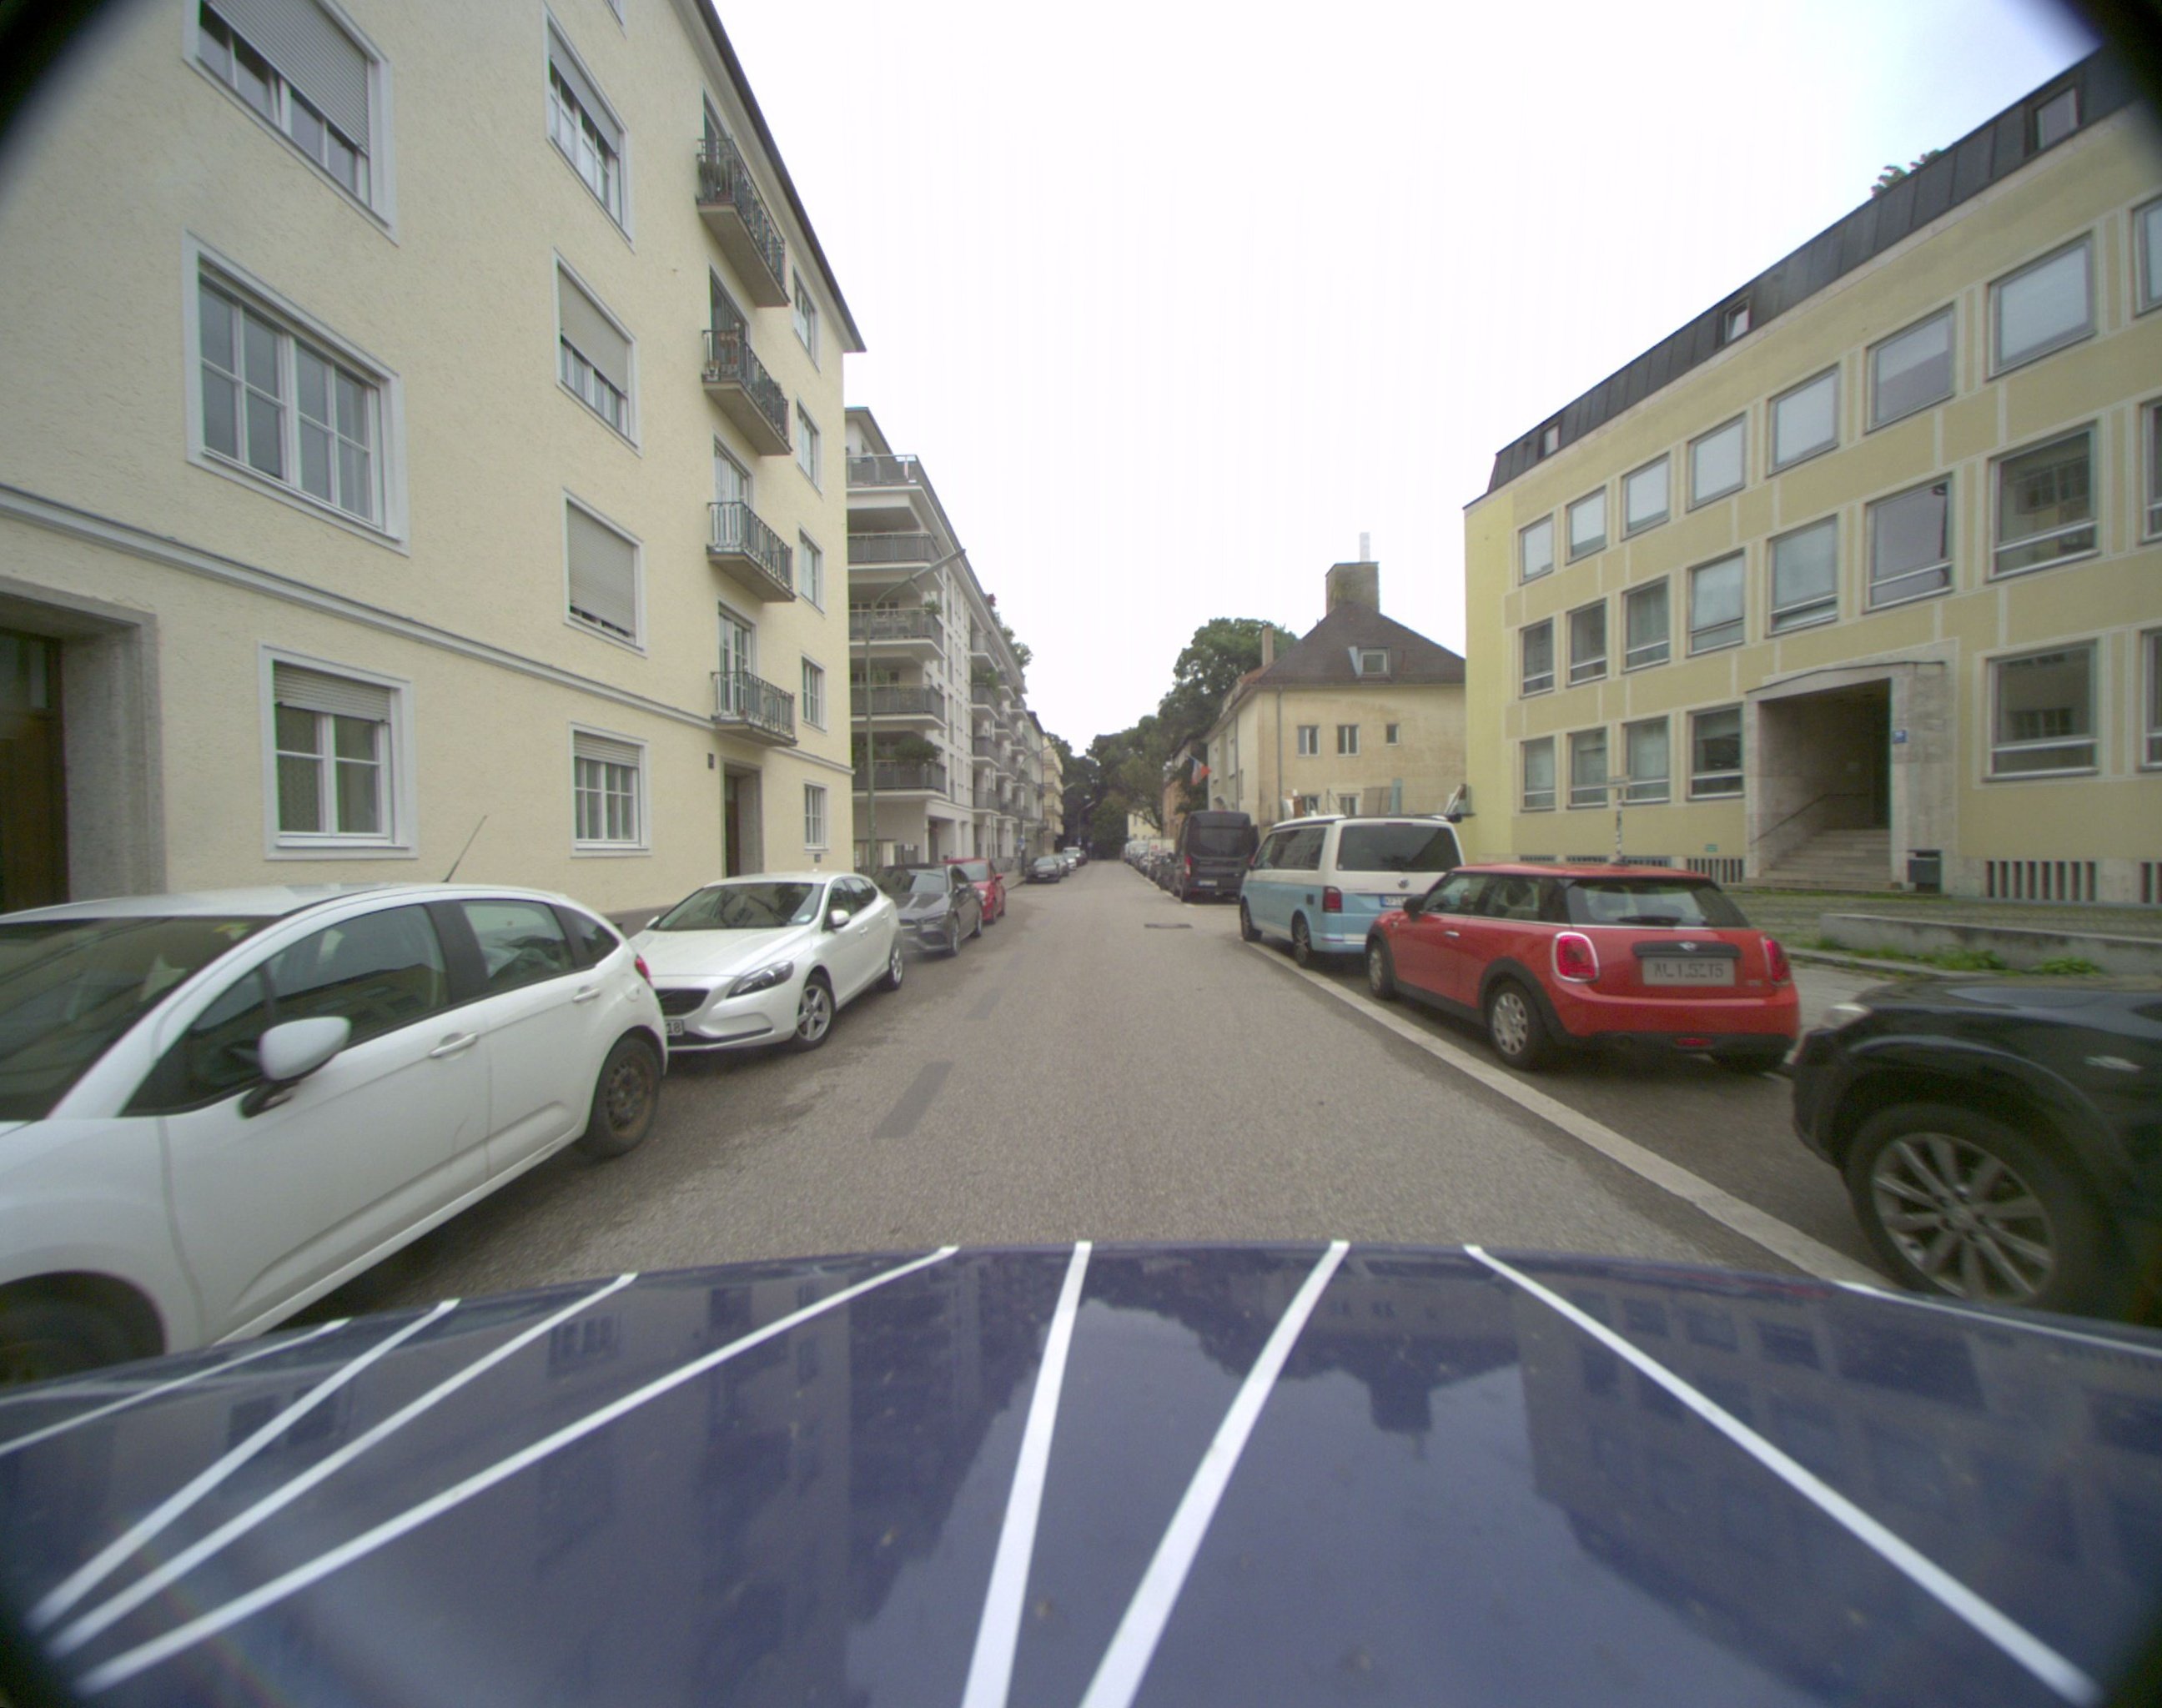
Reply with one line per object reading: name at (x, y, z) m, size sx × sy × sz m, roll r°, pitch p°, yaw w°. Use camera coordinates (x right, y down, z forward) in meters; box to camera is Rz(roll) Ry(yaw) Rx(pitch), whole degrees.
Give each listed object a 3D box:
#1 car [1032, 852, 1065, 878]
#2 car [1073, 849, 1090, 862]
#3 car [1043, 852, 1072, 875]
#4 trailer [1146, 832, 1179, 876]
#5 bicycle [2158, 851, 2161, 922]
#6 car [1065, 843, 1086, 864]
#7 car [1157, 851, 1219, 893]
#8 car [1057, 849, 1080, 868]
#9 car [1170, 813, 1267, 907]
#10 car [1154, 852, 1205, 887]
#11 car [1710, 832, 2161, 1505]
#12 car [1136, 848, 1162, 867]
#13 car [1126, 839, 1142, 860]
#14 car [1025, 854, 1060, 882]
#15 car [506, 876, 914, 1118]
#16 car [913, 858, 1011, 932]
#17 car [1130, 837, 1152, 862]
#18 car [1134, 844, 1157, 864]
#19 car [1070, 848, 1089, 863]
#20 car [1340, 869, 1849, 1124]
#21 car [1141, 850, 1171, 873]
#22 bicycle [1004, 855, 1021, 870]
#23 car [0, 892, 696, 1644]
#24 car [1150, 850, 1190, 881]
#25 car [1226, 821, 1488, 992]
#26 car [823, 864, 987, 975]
car at (-1.963, 0.665, 46.753) m, size 1.766 × 1.449 × 3.417 m, roll -1°, pitch 1°, yaw 1°
car at (0.099, 0.205, 93.981) m, size 1.871 × 1.455 × 4.268 m, roll -1°, pitch 1°, yaw 2°
car at (-1.546, 0.603, 50.790) m, size 1.766 × 1.449 × 3.747 m, roll -1°, pitch 1°, yaw 1°
trailer at (4.954, -0.019, 45.973) m, size 1.817 × 2.521 × 3.390 m, roll 2°, pitch 1°, yaw 6°
bicycle at (16.475, 0.423, 10.889) m, size 1.954 × 1.008 × 0.580 m, roll -3°, pitch 1°, yaw -16°
car at (-0.532, -0.095, 78.202) m, size 1.871 × 2.002 × 4.268 m, roll -1°, pitch 1°, yaw 2°
car at (4.089, 0.657, 29.458) m, size 1.706 × 1.485 × 3.488 m, roll -1°, pitch 1°, yaw -3°
car at (-0.992, 0.375, 62.988) m, size 1.766 × 1.449 × 3.747 m, roll -1°, pitch 1°, yaw 1°
car at (4.215, 0.149, 24.311) m, size 2.302 × 2.630 × 5.653 m, roll 0°, pitch 1°, yaw 3°
car at (4.367, 0.666, 34.072) m, size 1.697 × 1.417 × 4.069 m, roll 0°, pitch 1°, yaw -1°
car at (3.553, 0.811, 0.974) m, size 1.748 × 1.656 × 4.448 m, roll 2°, pitch 1°, yaw 0°
car at (5.531, 0.264, 62.458) m, size 1.818 × 1.444 × 3.927 m, roll -1°, pitch 1°, yaw 1°
car at (6.613, -0.594, 95.185) m, size 1.880 × 2.539 × 4.370 m, roll -1°, pitch 1°, yaw 3°
car at (-2.073, 0.730, 41.836) m, size 1.784 × 1.386 × 4.245 m, roll -1°, pitch 1°, yaw -2°
car at (-2.962, 1.021, 7.294) m, size 1.683 × 1.402 × 4.442 m, roll -1°, pitch 1°, yaw 0°
car at (-2.720, 0.886, 18.139) m, size 1.683 × 1.489 × 3.823 m, roll -1°, pitch 1°, yaw 0°
car at (6.178, -0.473, 78.719) m, size 2.104 × 2.418 × 4.549 m, roll -1°, pitch 1°, yaw 4°
car at (5.761, -0.012, 68.481) m, size 1.817 × 1.724 × 3.649 m, roll -1°, pitch 1°, yaw 2°
car at (-0.163, 0.152, 83.833) m, size 1.871 × 1.455 × 4.268 m, roll -1°, pitch 1°, yaw 2°
car at (3.762, 0.899, 6.530) m, size 1.748 × 1.379 × 3.918 m, roll -2°, pitch 0°, yaw 1°
car at (5.048, 0.471, 51.324) m, size 1.767 × 1.505 × 3.842 m, roll 0°, pitch 1°, yaw 2°
bicycle at (-4.992, 0.593, 55.634) m, size 0.580 × 1.008 × 1.955 m, roll -2°, pitch 1°, yaw 14°
car at (-3.250, 1.015, 2.648) m, size 1.683 × 1.473 × 4.166 m, roll -1°, pitch 1°, yaw -1°
car at (4.644, 0.566, 40.362) m, size 1.817 × 1.491 × 4.643 m, roll 0°, pitch 1°, yaw 3°
car at (3.656, 0.573, 11.252) m, size 1.933 × 1.967 × 5.021 m, roll 0°, pitch 1°, yaw -2°
car at (-2.738, 0.955, 12.842) m, size 1.683 × 1.402 × 4.421 m, roll -1°, pitch 1°, yaw 0°
